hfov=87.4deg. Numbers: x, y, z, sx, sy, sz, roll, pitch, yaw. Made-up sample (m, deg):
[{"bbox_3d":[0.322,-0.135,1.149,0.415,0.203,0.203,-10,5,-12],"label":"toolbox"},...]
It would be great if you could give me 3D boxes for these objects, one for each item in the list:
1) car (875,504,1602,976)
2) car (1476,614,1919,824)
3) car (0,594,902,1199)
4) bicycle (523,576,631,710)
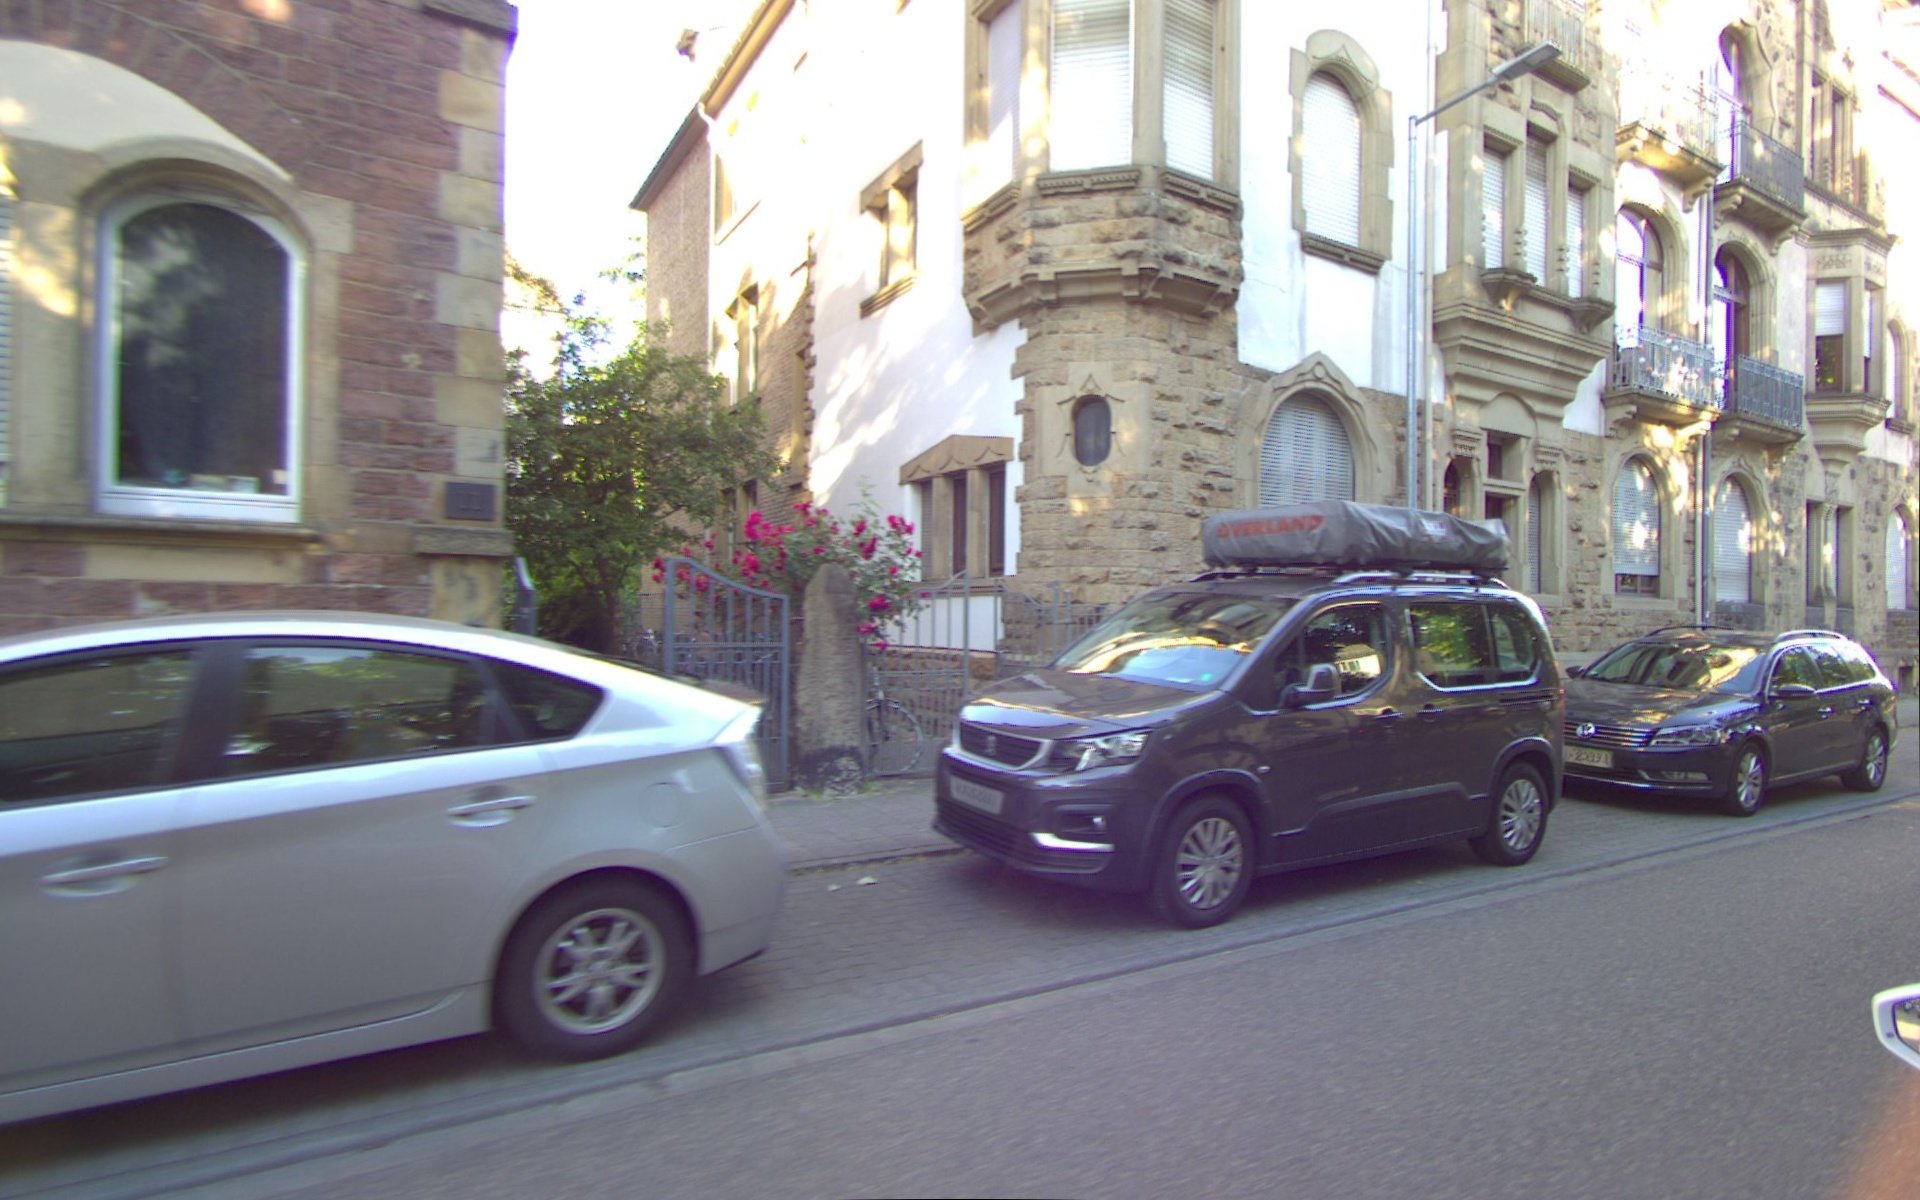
[{"bbox_3d":[1.896,0.617,6.307,4.450,2.001,1.957,1,0,-34],"label":"car"},{"bbox_3d":[7.119,1.002,9.555,4.654,1.595,1.721,3,-2,-30],"label":"car"},{"bbox_3d":[-2.540,0.757,3.499,4.408,1.519,1.719,1,0,-34],"label":"car"},{"bbox_3d":[-6.212,0.680,16.440,0.996,2.040,2.196,0,-1,-3],"label":"bicycle"}]
